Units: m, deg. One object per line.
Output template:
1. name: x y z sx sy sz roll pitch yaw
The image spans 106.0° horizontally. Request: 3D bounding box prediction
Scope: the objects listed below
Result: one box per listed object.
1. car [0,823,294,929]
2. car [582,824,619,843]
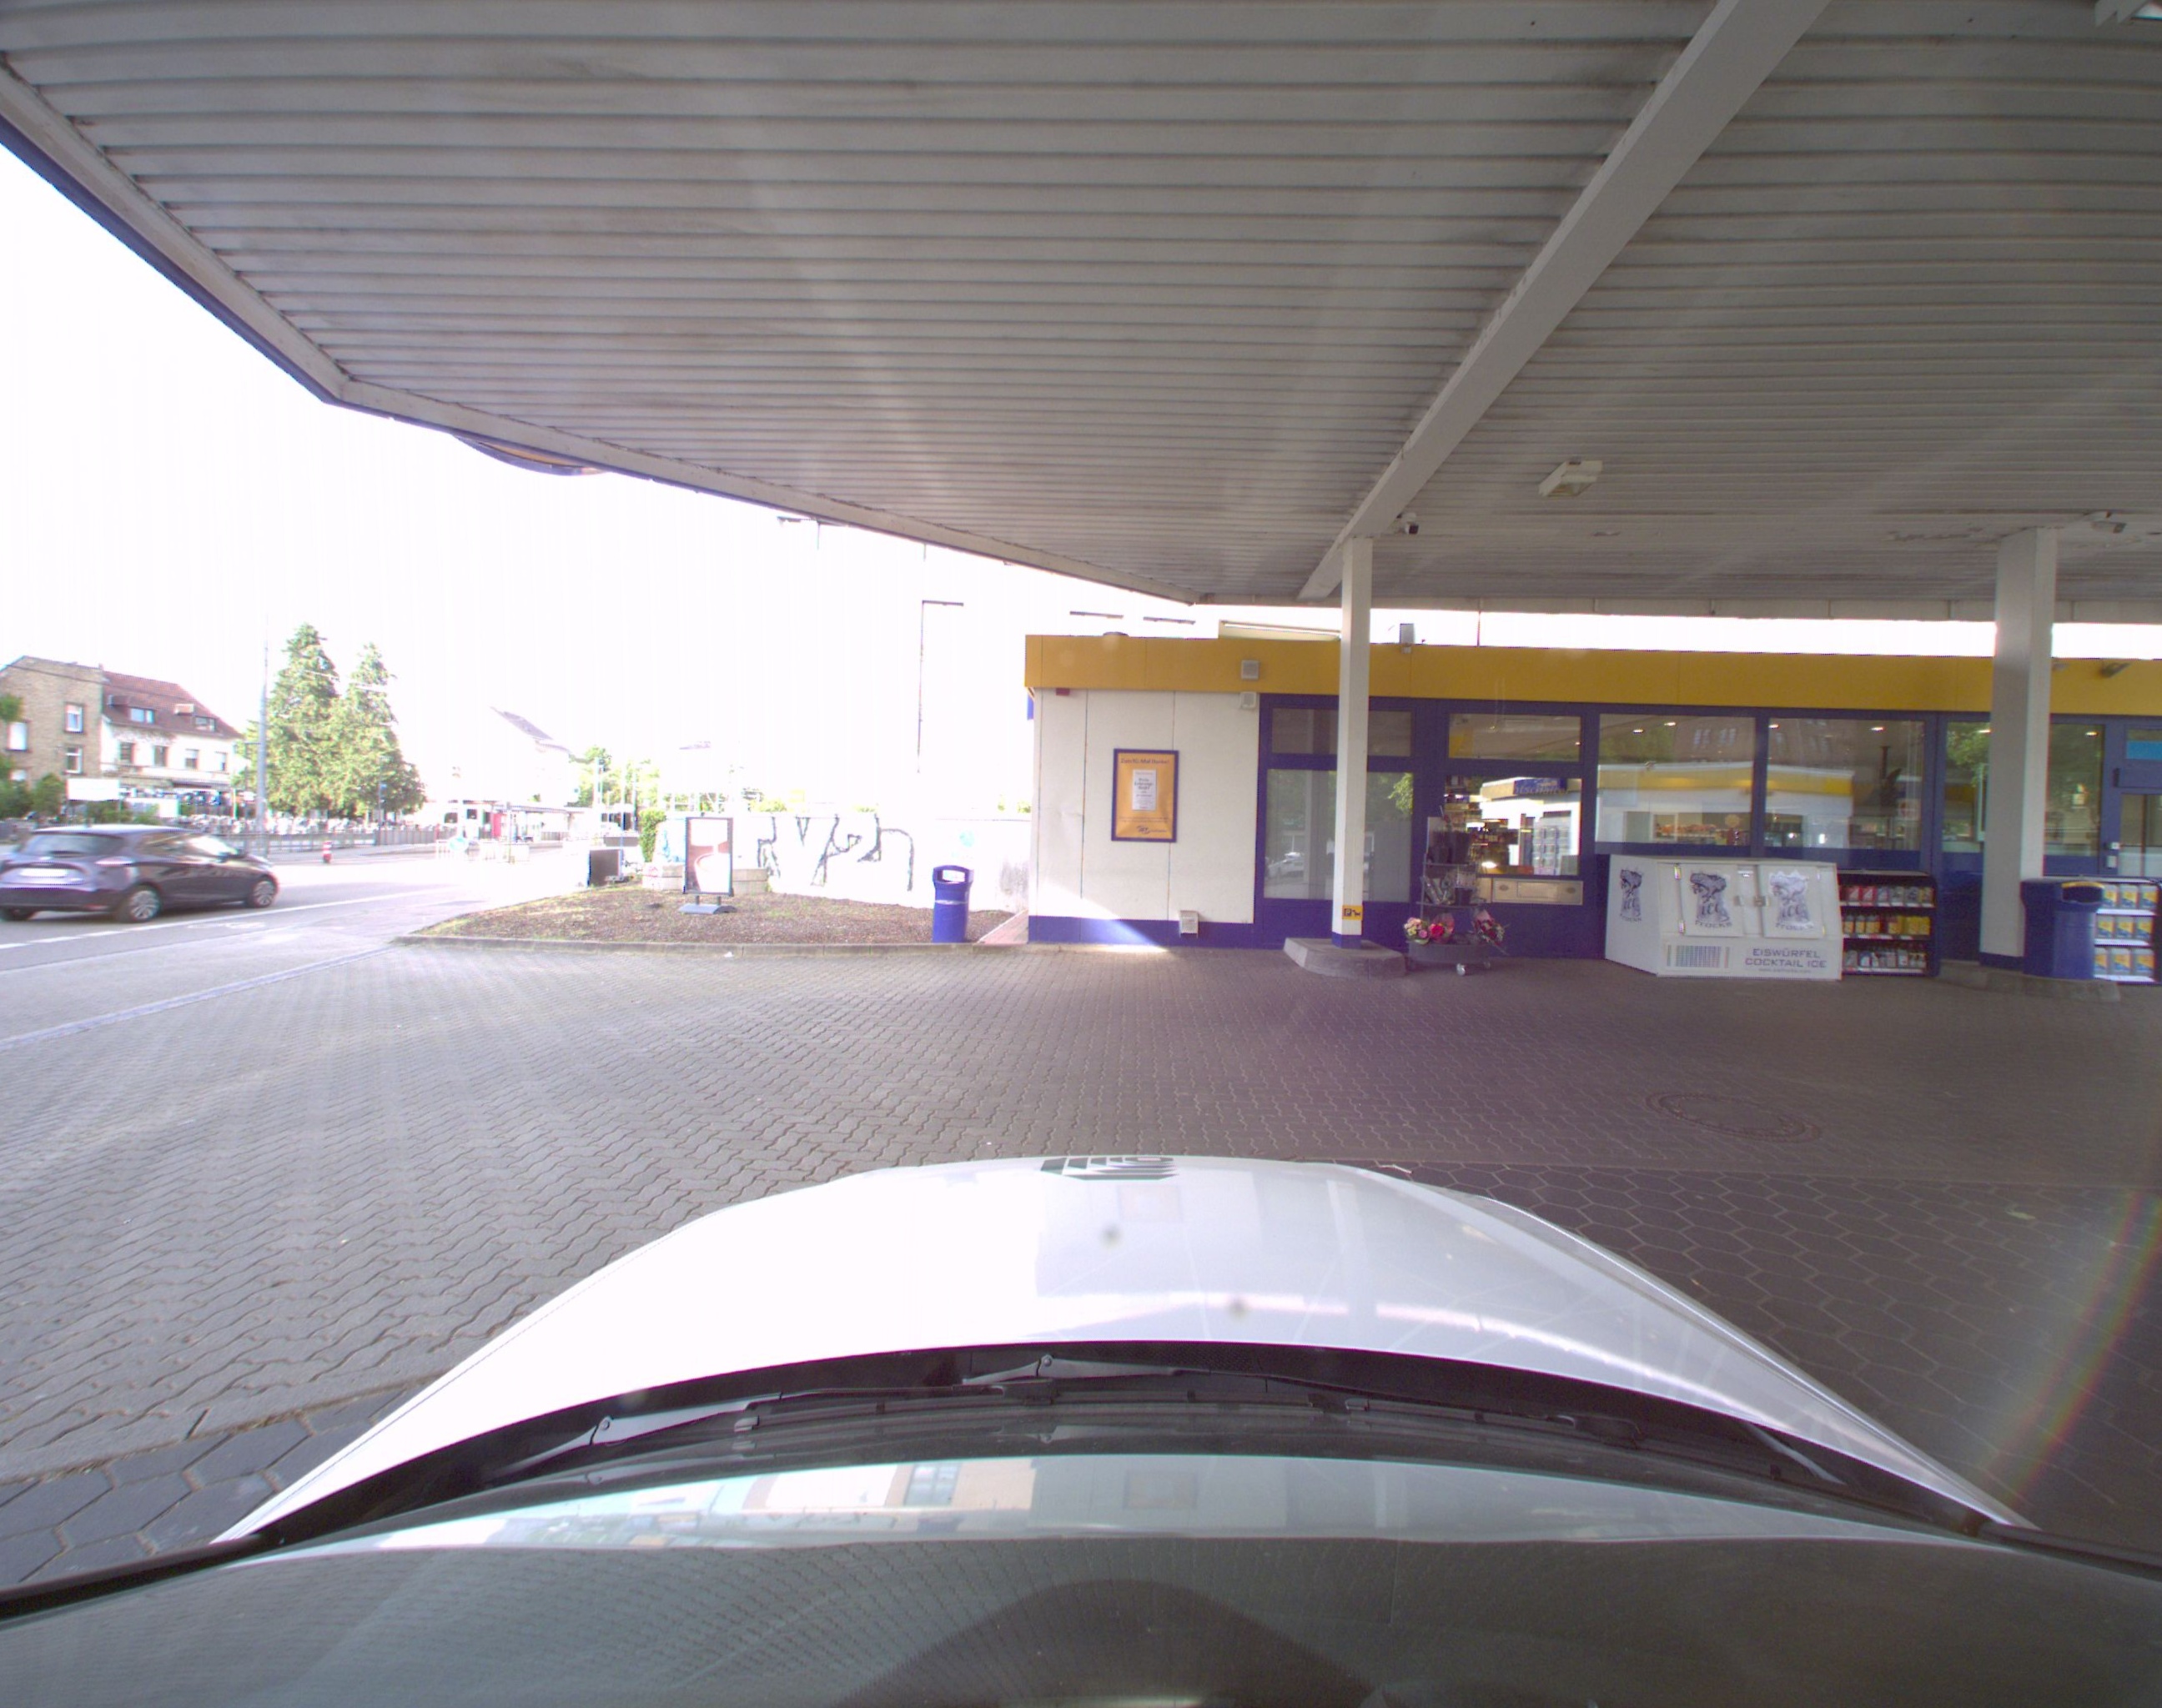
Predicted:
1. car: -16.159 0.283 14.191 1.728 1.542 3.981 2 1 -15
2. car: -49.825 -2.135 84.534 1.963 1.889 4.394 1 0 -11
